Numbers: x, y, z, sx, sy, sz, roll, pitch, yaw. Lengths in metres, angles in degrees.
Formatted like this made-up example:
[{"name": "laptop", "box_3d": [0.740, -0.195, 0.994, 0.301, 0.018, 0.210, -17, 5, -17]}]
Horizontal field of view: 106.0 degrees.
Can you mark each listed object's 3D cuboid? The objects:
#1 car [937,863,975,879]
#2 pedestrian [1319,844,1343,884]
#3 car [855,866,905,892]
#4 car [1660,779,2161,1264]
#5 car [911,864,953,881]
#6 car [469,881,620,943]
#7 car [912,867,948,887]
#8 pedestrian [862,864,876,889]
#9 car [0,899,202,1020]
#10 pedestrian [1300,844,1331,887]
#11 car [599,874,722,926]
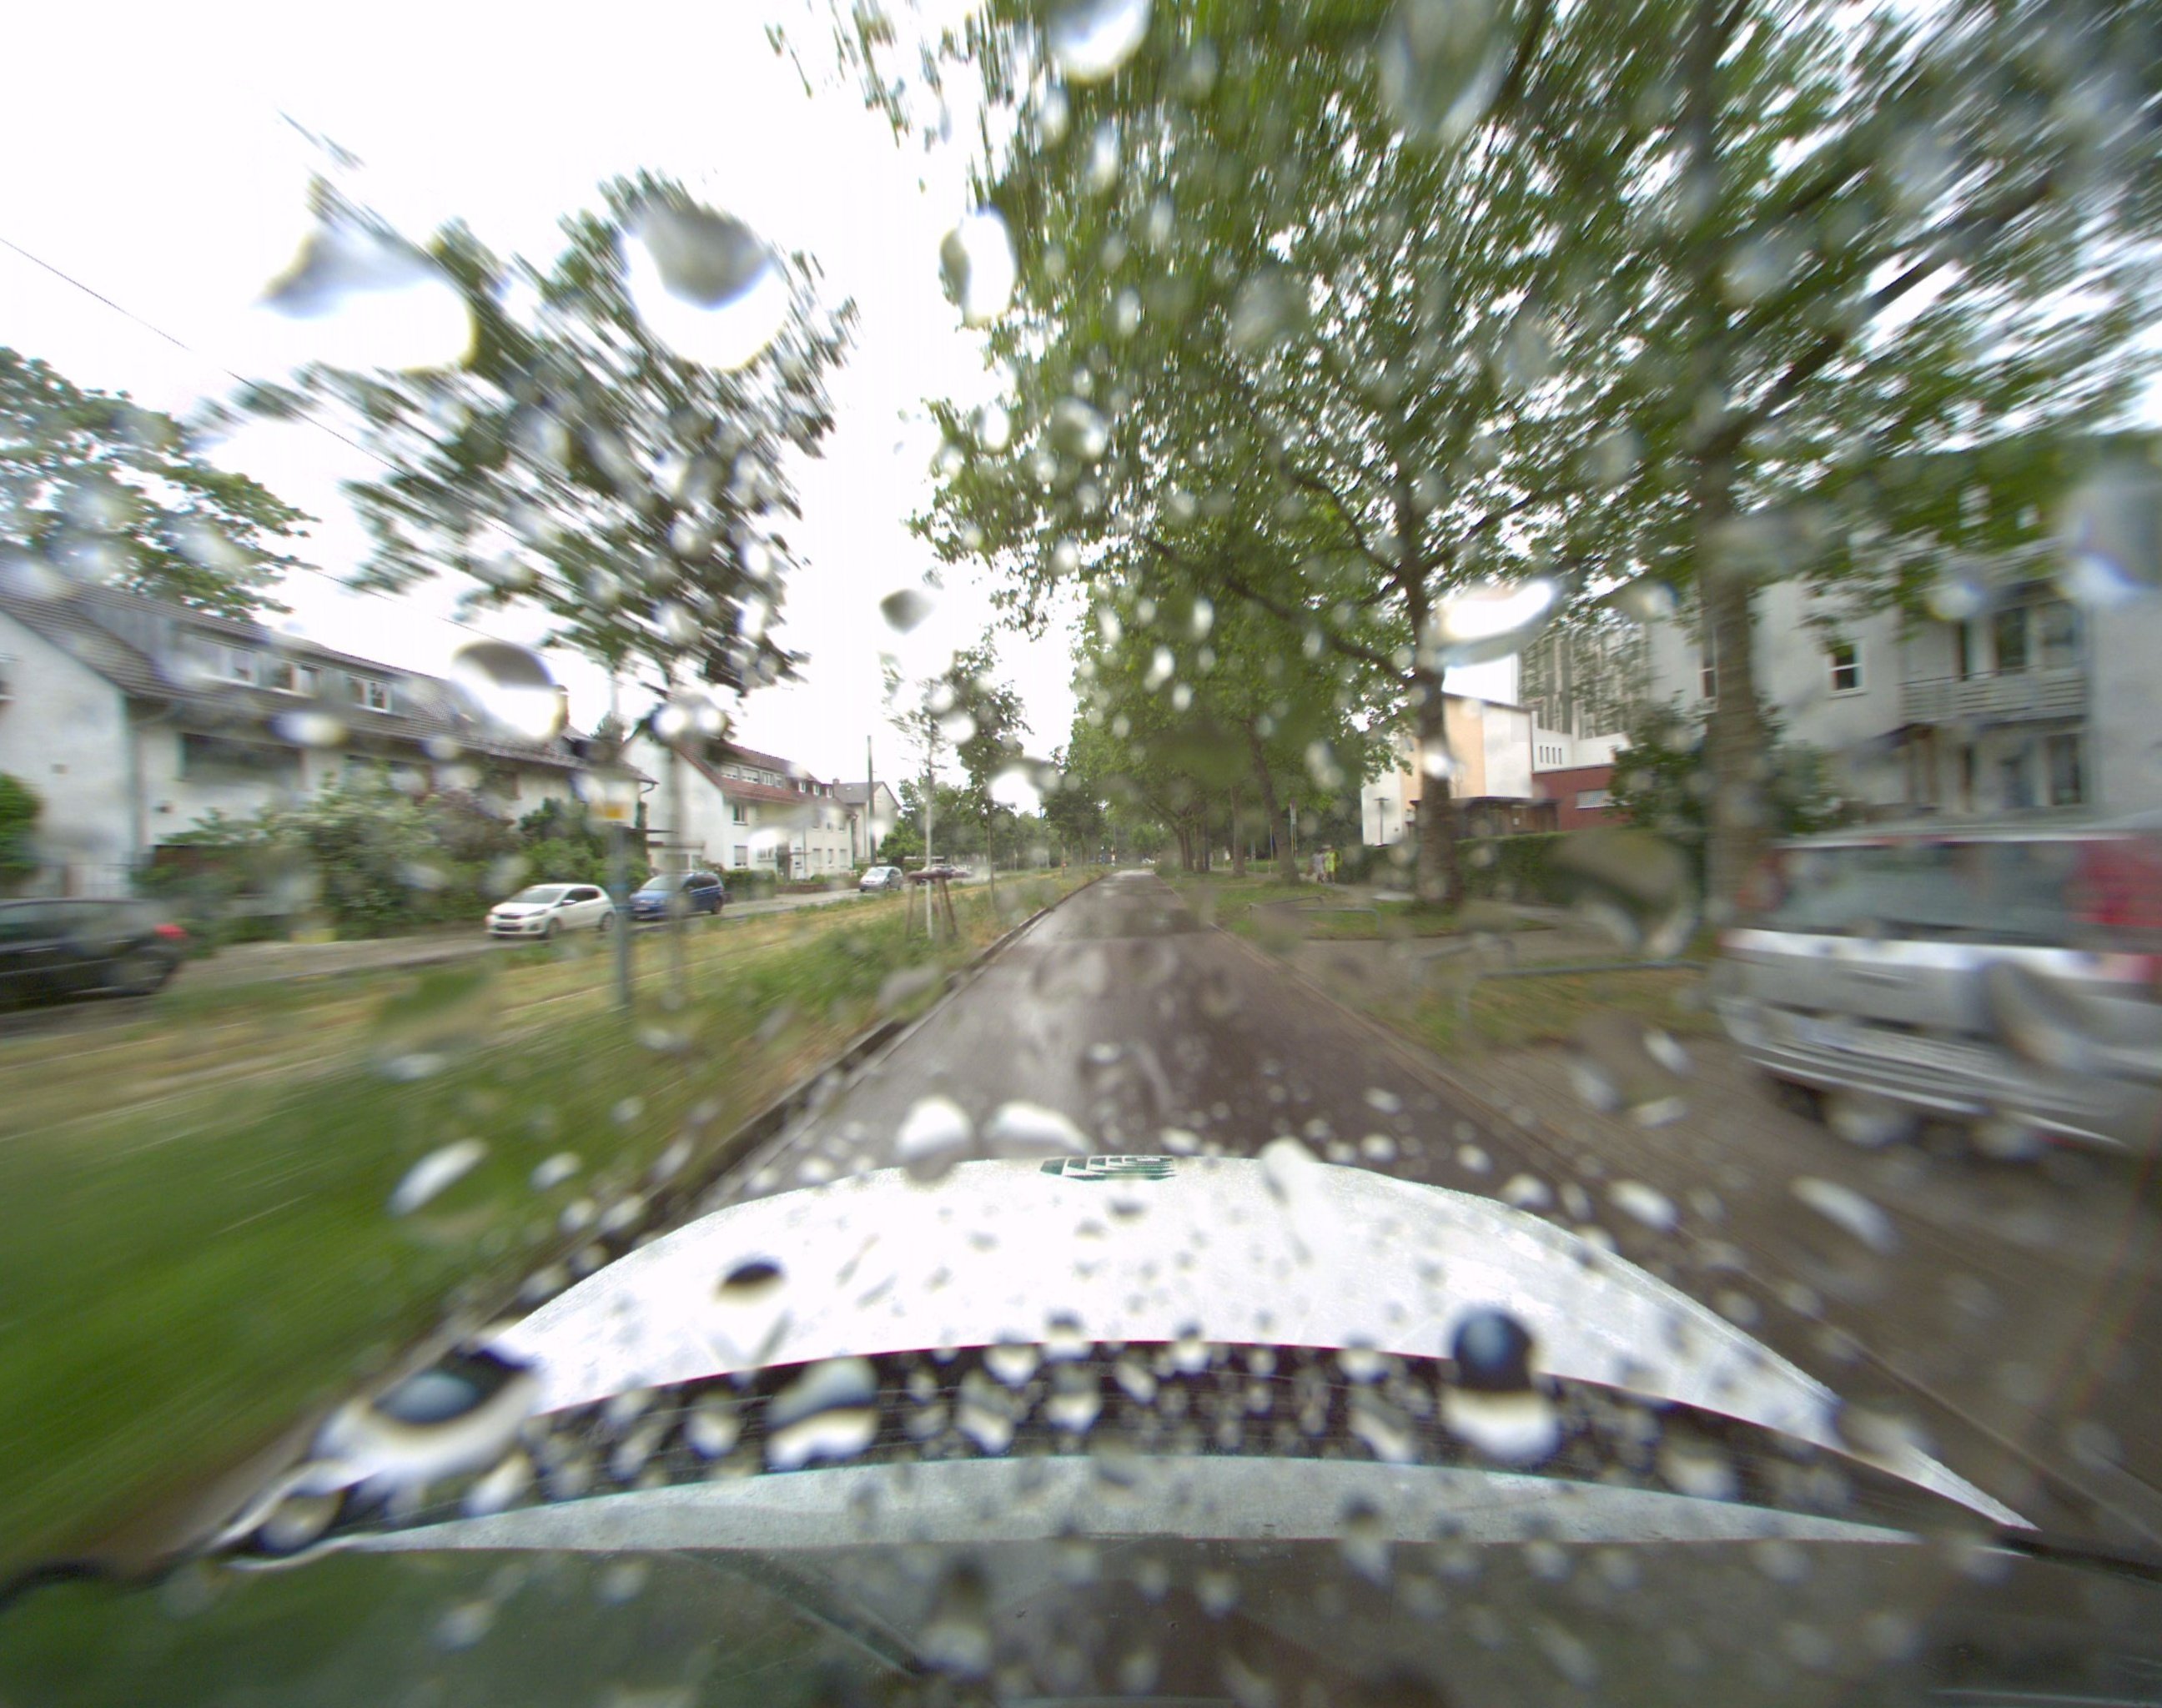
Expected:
[{"name": "car", "box_3d": [-14.514, 2.005, 94.603, 3.973, 1.616, 2.000, -3, 0, 0]}, {"name": "pedestrian", "box_3d": [9.855, 0.394, 32.153, 0.555, 1.538, 0.966, -3, -1, -2]}, {"name": "car", "box_3d": [-13.182, 1.617, 53.726, 1.985, 1.581, 4.520, -1, 0, 3]}, {"name": "car", "box_3d": [5.122, 0.437, 3.896, 3.859, 1.566, 1.612, -4, 0, -13]}, {"name": "car", "box_3d": [-15.793, 1.950, 86.368, 3.973, 1.616, 2.000, -3, 0, 0]}, {"name": "car", "box_3d": [-15.232, 1.611, 23.364, 1.789, 1.488, 3.599, -1, 0, 3]}, {"name": "car", "box_3d": [-12.500, 1.850, 67.467, 1.985, 1.488, 4.208, -1, 0, 3]}, {"name": "pedestrian", "box_3d": [-15.470, 1.621, 59.408, 0.698, 1.755, 0.855, -3, -1, 3]}, {"name": "car", "box_3d": [-15.792, 1.523, 11.531, 1.985, 1.516, 4.208, -1, 0, 3]}, {"name": "pedestrian", "box_3d": [8.923, 0.433, 30.969, 0.831, 1.538, 0.859, -4, -1, -2]}, {"name": "car", "box_3d": [-15.196, 1.615, 29.753, 1.985, 1.614, 4.416, -1, 0, 3]}]
